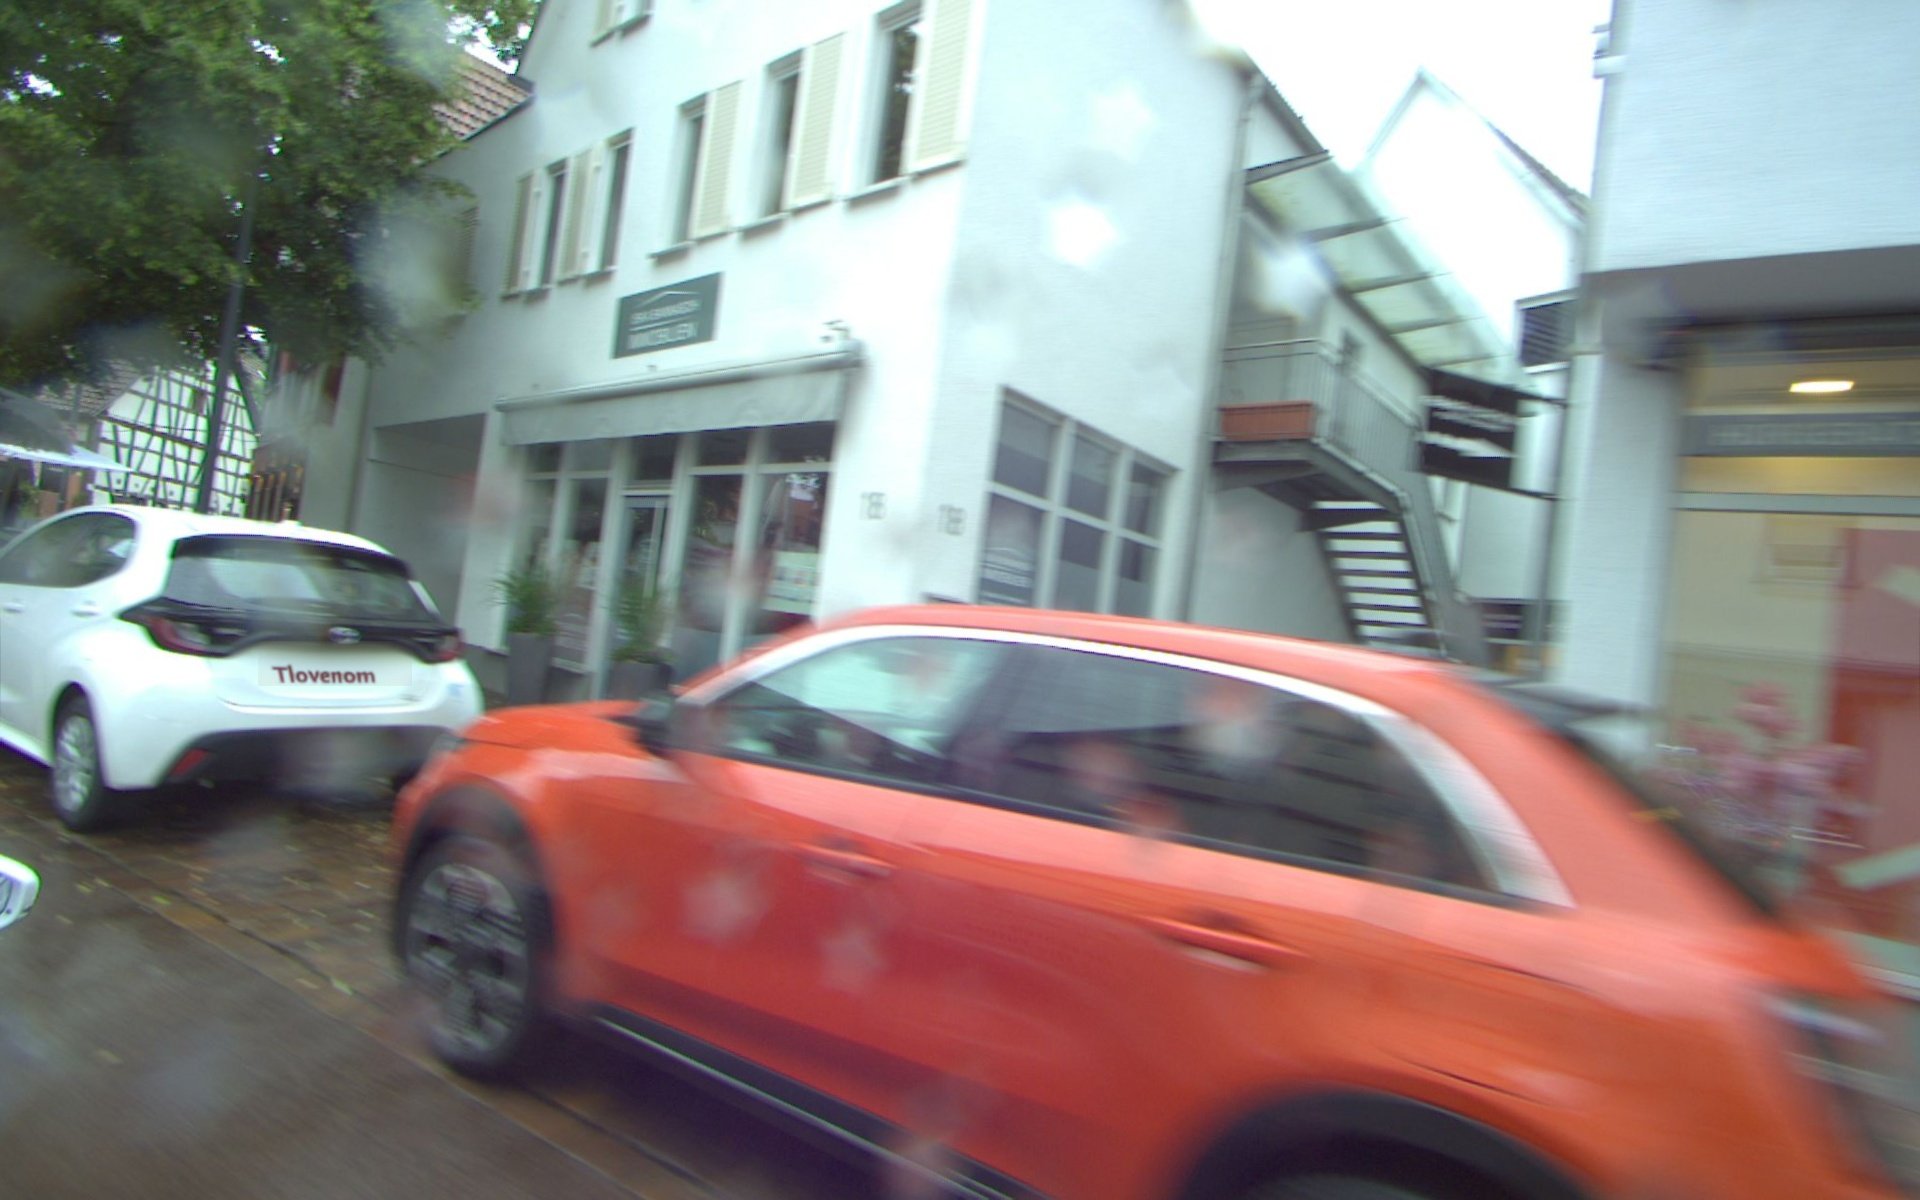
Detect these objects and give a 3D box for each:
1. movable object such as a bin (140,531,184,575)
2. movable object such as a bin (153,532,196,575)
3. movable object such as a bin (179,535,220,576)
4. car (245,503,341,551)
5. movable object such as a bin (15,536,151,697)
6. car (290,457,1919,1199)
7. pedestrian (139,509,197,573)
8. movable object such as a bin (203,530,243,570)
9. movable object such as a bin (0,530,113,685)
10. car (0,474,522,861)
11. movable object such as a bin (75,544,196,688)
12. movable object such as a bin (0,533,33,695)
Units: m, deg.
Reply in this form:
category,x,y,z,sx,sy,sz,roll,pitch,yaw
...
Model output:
category,x,y,z,sx,sy,sz,roll,pitch,yaw
movable object such as a bin,-22.429,-1.320,28.293,0.595,1.106,0.656,7,-1,-3
movable object such as a bin,-22.625,-1.333,28.985,0.595,1.106,0.656,7,-1,-3
movable object such as a bin,-22.632,-1.312,29.956,0.595,1.106,0.656,7,-1,-3
car,-30.684,-3.315,46.433,1.966,1.547,3.997,7,-2,-8
movable object such as a bin,-6.788,0.137,7.799,0.491,1.162,0.532,7,-1,25
car,-0.016,0.636,2.963,3.893,1.709,1.693,6,-2,33
pedestrian,-21.127,-1.560,26.866,0.748,1.535,0.841,7,-1,-10
movable object such as a bin,-22.540,-1.532,30.769,0.595,1.106,0.656,7,-1,-3
movable object such as a bin,-7.402,0.070,8.137,0.575,1.162,0.546,7,-1,25
car,-4.773,0.192,6.014,4.331,1.557,1.693,6,-2,33
movable object such as a bin,-7.173,0.146,8.758,0.570,1.162,0.505,7,-1,25
movable object such as a bin,-7.190,0.071,7.218,0.491,1.162,0.535,7,-1,25
